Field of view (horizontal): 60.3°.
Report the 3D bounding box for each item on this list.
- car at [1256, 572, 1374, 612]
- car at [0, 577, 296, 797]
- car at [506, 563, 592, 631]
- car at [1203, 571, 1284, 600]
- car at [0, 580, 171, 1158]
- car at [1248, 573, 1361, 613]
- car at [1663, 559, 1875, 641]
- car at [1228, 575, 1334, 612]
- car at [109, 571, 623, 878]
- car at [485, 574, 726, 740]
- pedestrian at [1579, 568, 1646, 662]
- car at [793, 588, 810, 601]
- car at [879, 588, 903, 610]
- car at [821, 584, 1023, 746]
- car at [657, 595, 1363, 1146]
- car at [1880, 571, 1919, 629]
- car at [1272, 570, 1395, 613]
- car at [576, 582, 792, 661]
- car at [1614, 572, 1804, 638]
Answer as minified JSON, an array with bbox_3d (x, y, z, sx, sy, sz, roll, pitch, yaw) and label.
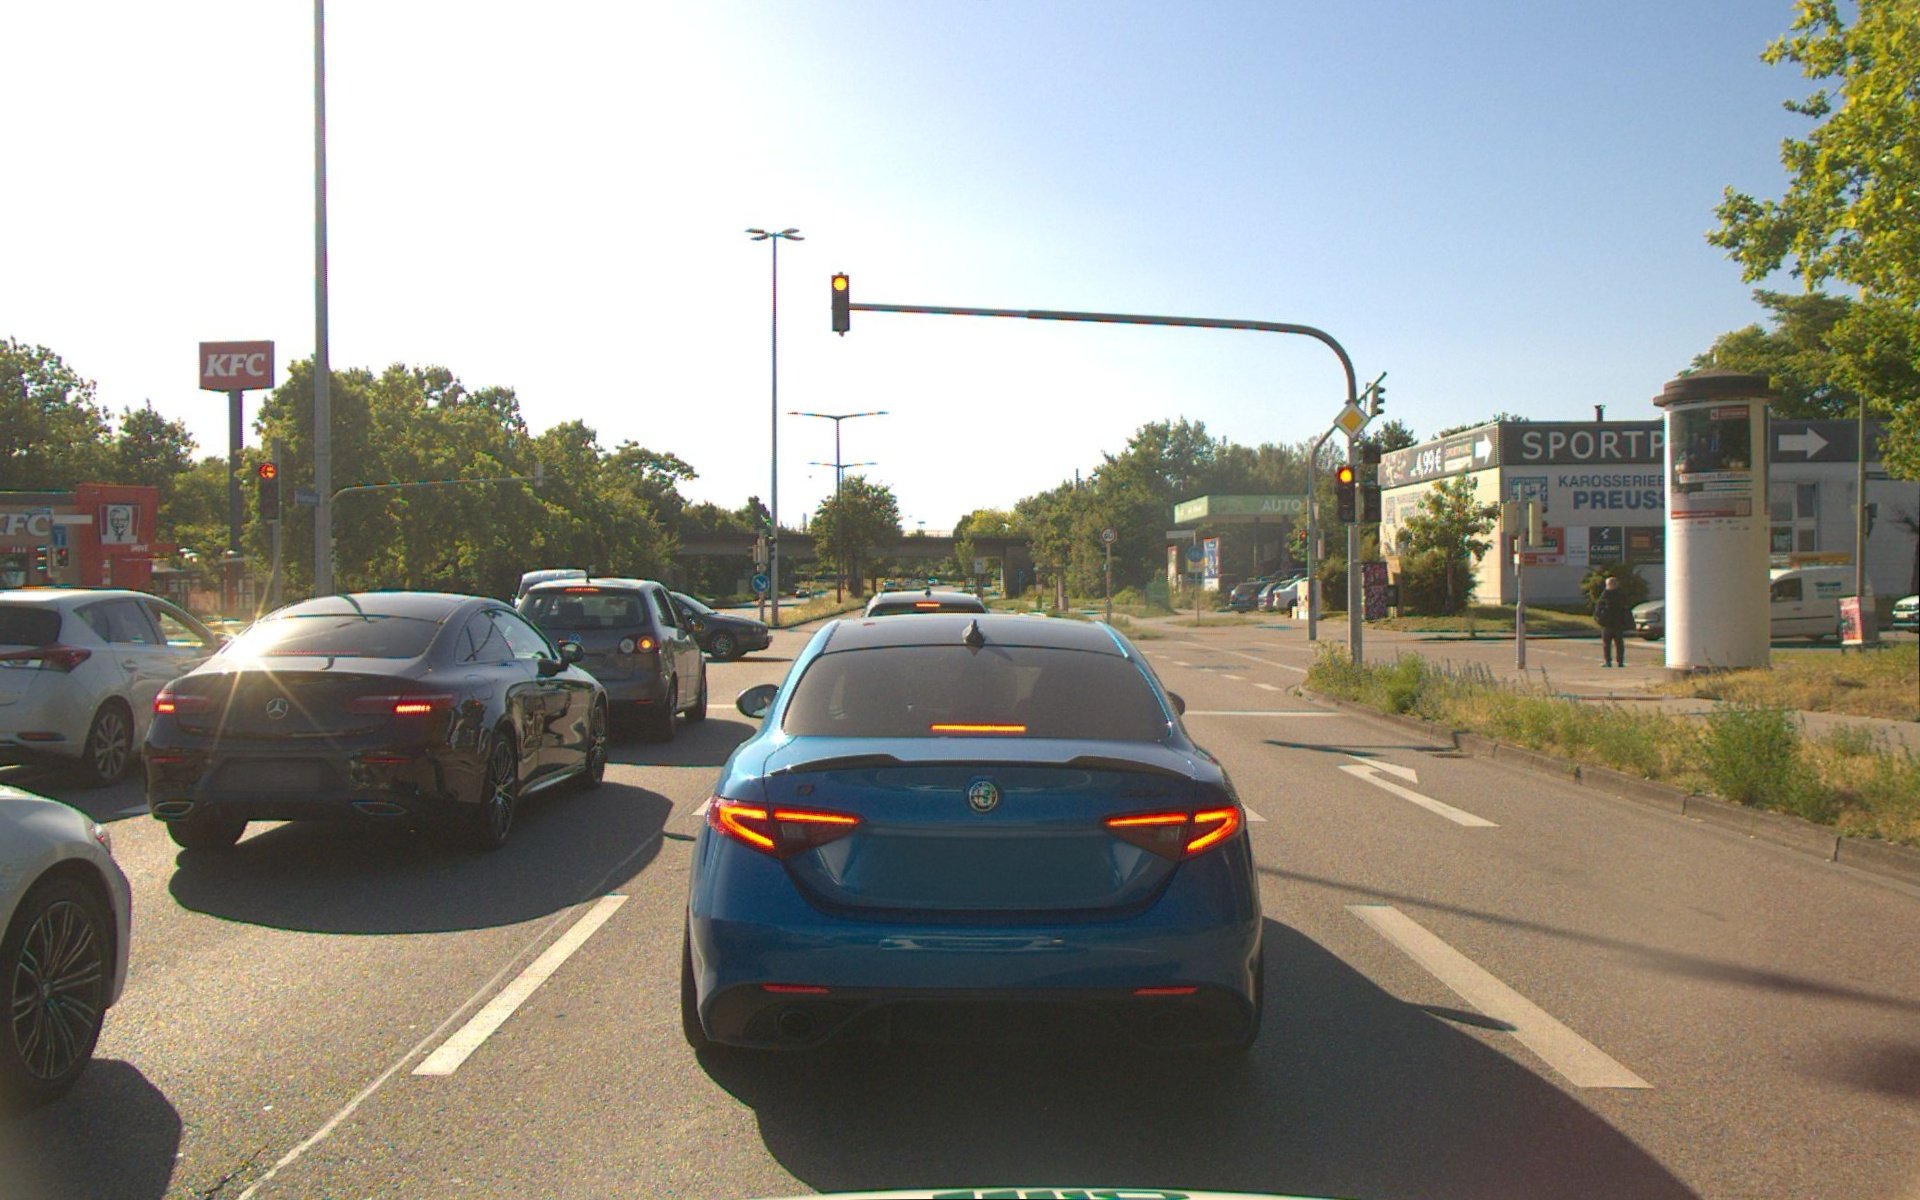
[{"bbox_3d":[14.480,-0.322,67.575,4.397,1.479,1.858,-2,0,1],"label":"car"},{"bbox_3d":[-7.107,0.599,13.551,1.723,1.516,4.195,1,0,-2],"label":"car"},{"bbox_3d":[-16.418,-0.131,66.365,1.981,2.489,5.820,-3,0,-1],"label":"car"},{"bbox_3d":[16.714,-0.850,97.586,4.457,1.516,1.765,-2,0,1],"label":"car"},{"bbox_3d":[-3.339,0.686,3.048,1.749,1.516,4.401,1,0,-2],"label":"car"},{"bbox_3d":[14.624,-0.299,70.331,4.397,1.479,1.858,-2,0,1],"label":"car"},{"bbox_3d":[19.545,-0.020,40.041,4.293,1.833,1.764,-1,2,-2],"label":"car"},{"bbox_3d":[14.395,-0.290,74.377,4.397,1.479,1.858,-2,0,1],"label":"car"},{"bbox_3d":[-3.435,0.637,10.552,1.760,1.516,4.474,1,0,-2],"label":"car"},{"bbox_3d":[-3.621,0.541,17.650,1.723,1.516,4.401,1,0,-2],"label":"car"},{"bbox_3d":[12.610,0.285,31.997,0.906,1.765,0.938,1,-1,-1],"label":"pedestrian"},{"bbox_3d":[-19.994,-0.703,208.924,1.723,1.516,4.477,-2,0,-1],"label":"car"},{"bbox_3d":[-5.805,-0.086,139.384,1.853,1.847,3.999,1,0,-1],"label":"car"},{"bbox_3d":[-0.411,0.603,17.222,1.813,1.443,4.401,1,0,-2],"label":"car"},{"bbox_3d":[0.072,0.733,6.594,1.857,1.443,4.401,1,0,-2],"label":"car"},{"bbox_3d":[26.798,-0.060,43.732,3.960,1.516,1.782,-2,0,-3],"label":"car"},{"bbox_3d":[14.604,-0.322,64.798,4.397,1.479,1.858,-2,0,1],"label":"car"},{"bbox_3d":[-5.936,0.454,35.908,4.320,1.516,1.765,-2,0,1],"label":"car"},{"bbox_3d":[19.595,0.110,43.380,4.201,1.576,1.764,-1,2,-2],"label":"car"}]
